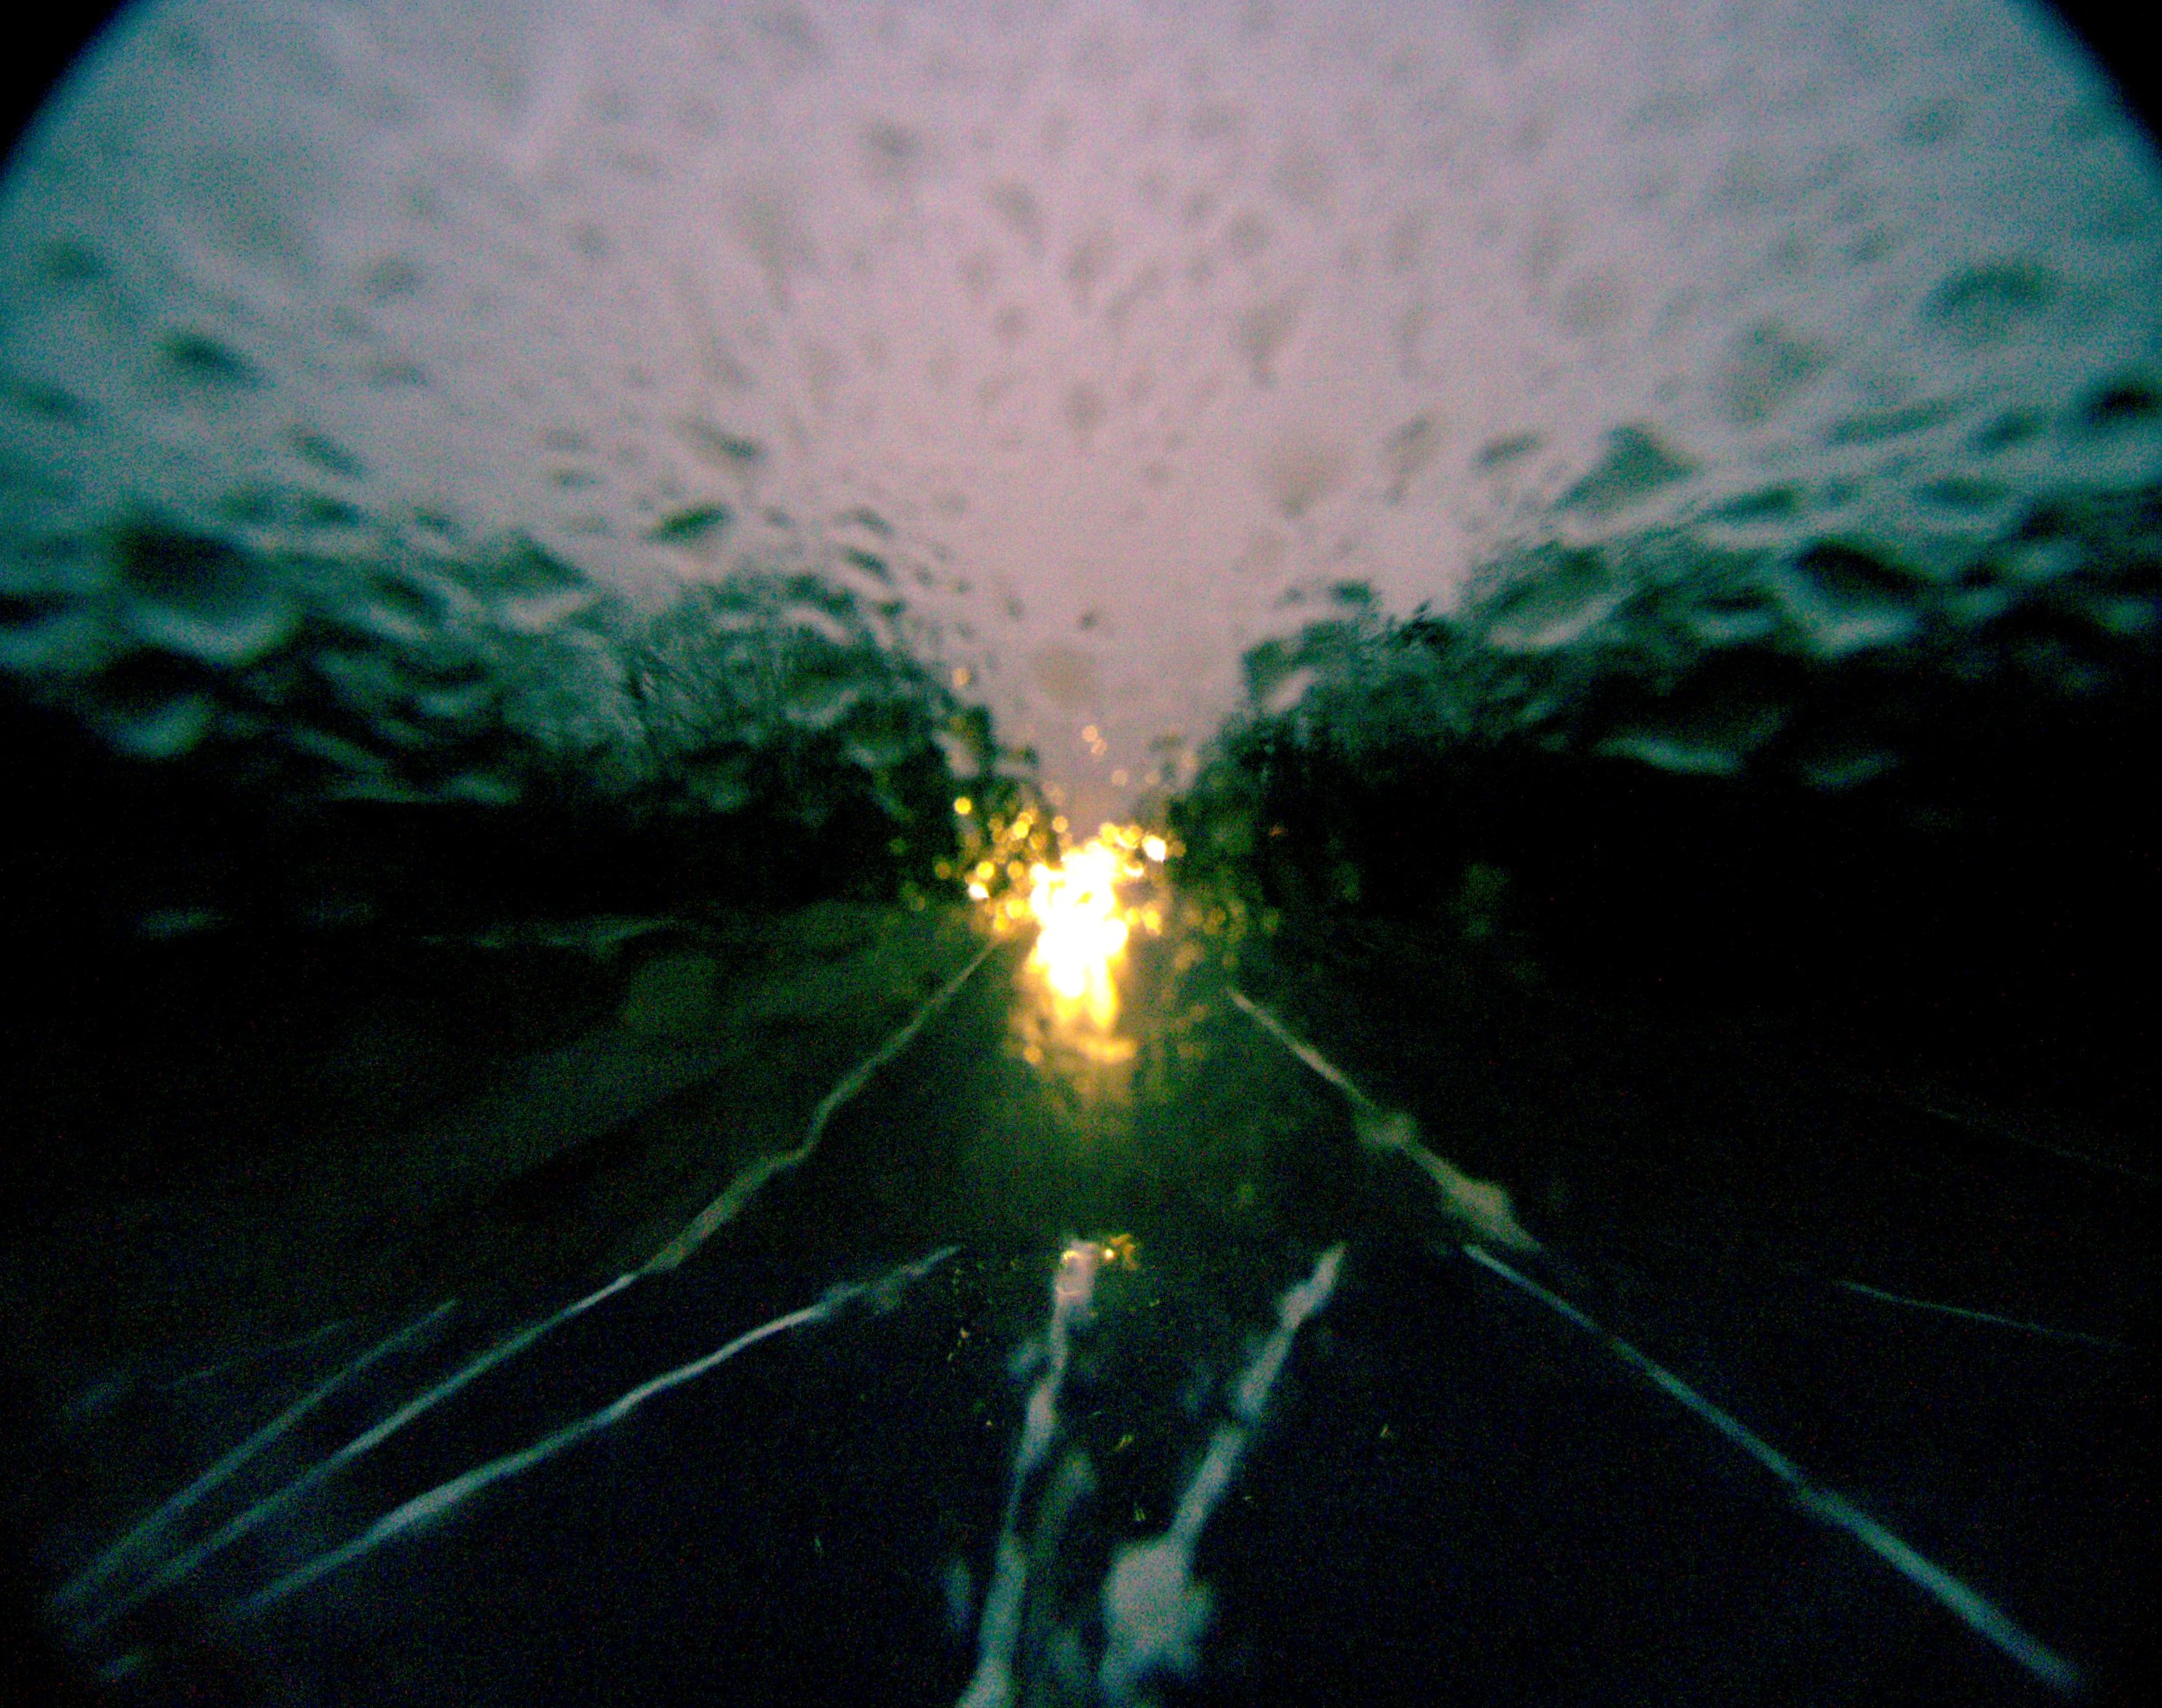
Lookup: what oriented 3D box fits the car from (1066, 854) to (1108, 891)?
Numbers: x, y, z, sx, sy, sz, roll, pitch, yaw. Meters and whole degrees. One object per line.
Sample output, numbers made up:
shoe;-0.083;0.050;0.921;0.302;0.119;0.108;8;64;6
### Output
car;0.284;0.821;35.688;1.860;1.604;4.000;-1;0;0
